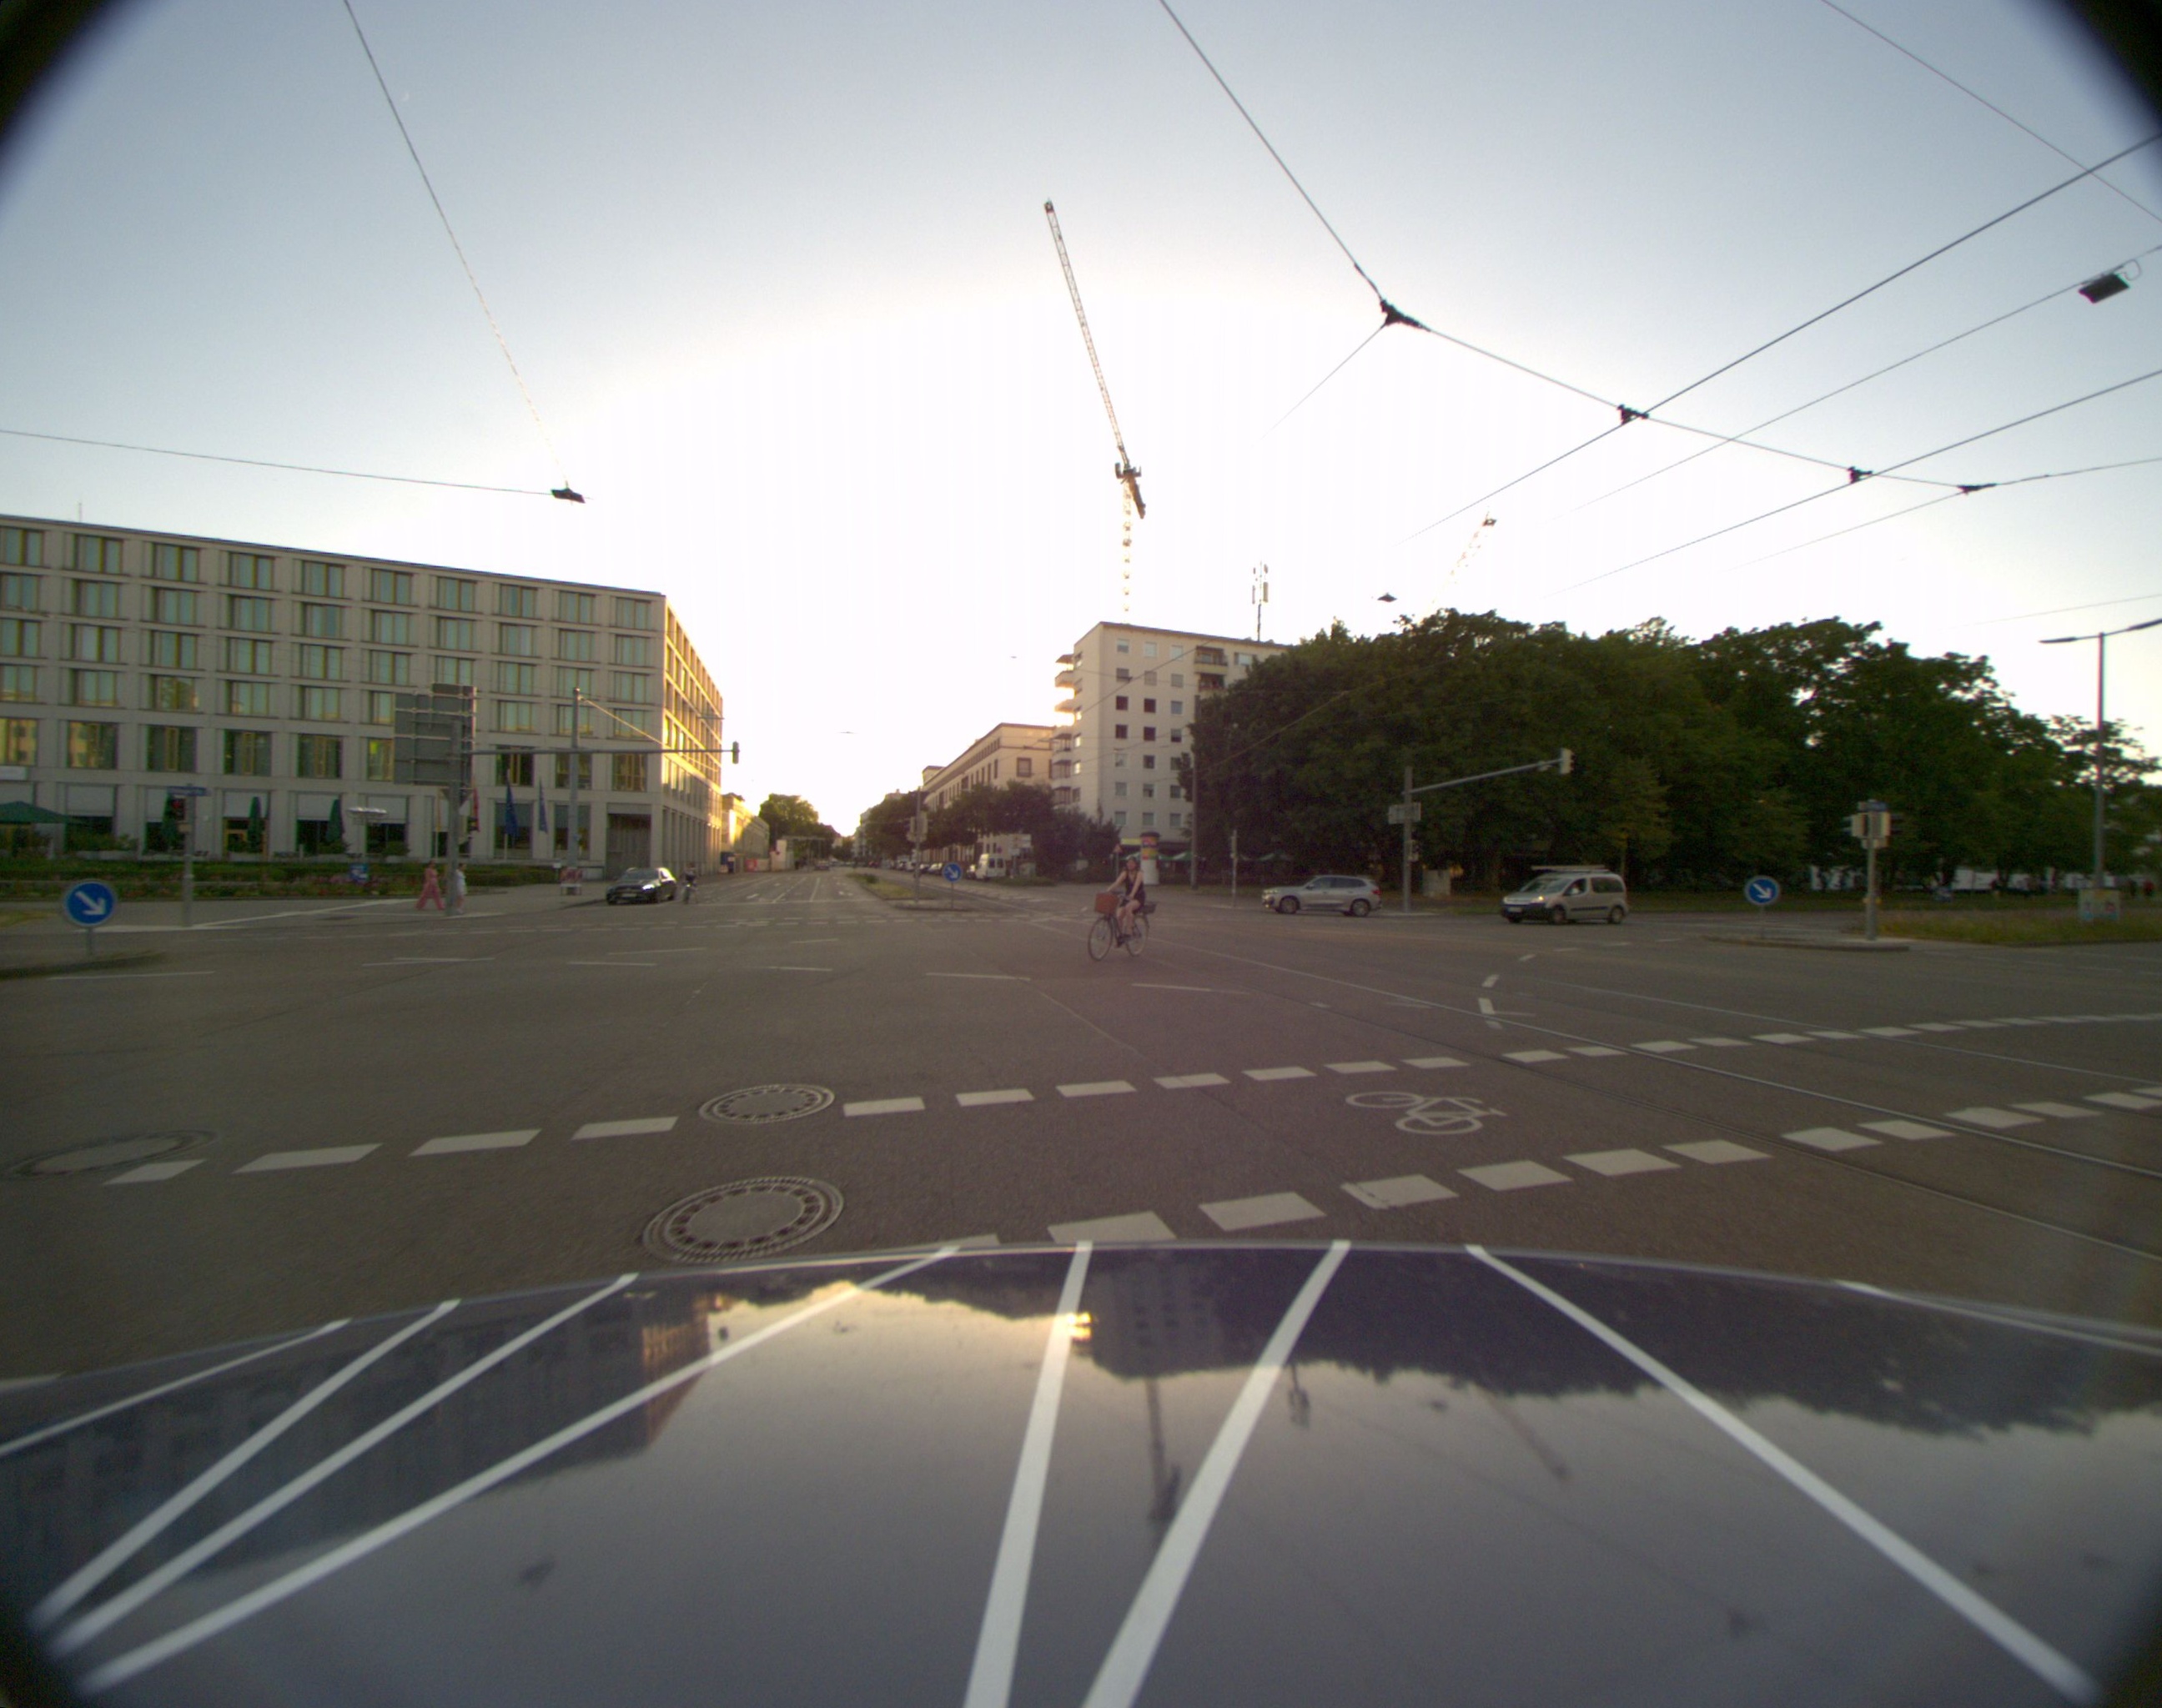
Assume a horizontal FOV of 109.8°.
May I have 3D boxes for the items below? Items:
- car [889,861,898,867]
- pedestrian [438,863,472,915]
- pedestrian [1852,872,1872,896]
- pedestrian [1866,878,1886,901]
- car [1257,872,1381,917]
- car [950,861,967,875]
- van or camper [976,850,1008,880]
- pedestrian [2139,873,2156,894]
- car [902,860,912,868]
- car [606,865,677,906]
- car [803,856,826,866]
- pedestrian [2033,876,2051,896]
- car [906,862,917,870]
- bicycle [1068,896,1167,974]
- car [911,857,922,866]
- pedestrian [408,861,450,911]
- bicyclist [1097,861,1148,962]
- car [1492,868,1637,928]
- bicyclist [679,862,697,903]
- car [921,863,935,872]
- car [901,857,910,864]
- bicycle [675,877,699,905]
[{"bbox_3d":[-40.638,2.172,164.416,1.724,1.421,3.804,1,-1,-15],"label":"car"},{"bbox_3d":[-19.916,1.109,24.168,0.627,1.616,0.537,1,0,-1],"label":"pedestrian"},{"bbox_3d":[51.891,2.011,50.496,0.678,1.585,0.645,0,-1,-16],"label":"pedestrian"},{"bbox_3d":[51.934,2.335,49.613,0.646,1.487,0.676,1,0,-17],"label":"pedestrian"},{"bbox_3d":[9.355,1.580,30.142,4.342,1.654,1.887,1,0,1],"label":"car"},{"bbox_3d":[-15.146,1.726,93.894,1.724,1.694,3.805,1,0,-14],"label":"car"},{"bbox_3d":[-8.277,1.021,70.059,2.113,2.665,4.703,1,0,-17],"label":"van or camper"},{"bbox_3d":[84.418,2.334,60.167,0.647,1.657,0.630,1,3,-32],"label":"pedestrian"},{"bbox_3d":[-33.359,1.907,145.558,1.724,1.478,3.804,1,0,-14],"label":"car"},{"bbox_3d":[-18.552,1.280,32.269,1.819,1.514,4.802,-1,0,-21],"label":"car"},{"bbox_3d":[-46.441,1.218,132.407,3.813,1.639,1.860,1,0,-19],"label":"car"},{"bbox_3d":[70.439,2.350,55.685,0.646,1.454,0.631,1,0,-17],"label":"pedestrian"},{"bbox_3d":[-29.411,2.053,131.750,1.724,1.421,3.804,1,-1,-15],"label":"car"},{"bbox_3d":[0.649,1.290,12.612,0.608,1.108,2.091,0,-1,35],"label":"bicycle"},{"bbox_3d":[-28.595,1.253,131.874,1.724,1.478,3.804,1,0,-14],"label":"car"},{"bbox_3d":[-21.368,1.041,24.903,0.737,1.616,0.727,1,0,13],"label":"pedestrian"},{"bbox_3d":[0.700,0.929,12.646,0.608,1.626,0.598,0,0,33],"label":"bicyclist"},{"bbox_3d":[16.482,1.440,25.904,4.470,1.900,1.803,1,0,-20],"label":"car"},{"bbox_3d":[-15.772,1.136,30.469,0.542,1.626,0.596,1,0,-18],"label":"bicyclist"},{"bbox_3d":[-22.874,2.015,113.567,1.724,1.421,3.804,1,-1,-15],"label":"car"},{"bbox_3d":[-34.989,1.347,151.421,1.724,1.421,3.804,1,-1,-15],"label":"car"},{"bbox_3d":[-15.755,1.455,30.401,0.541,1.045,1.758,1,0,-18],"label":"bicycle"}]
